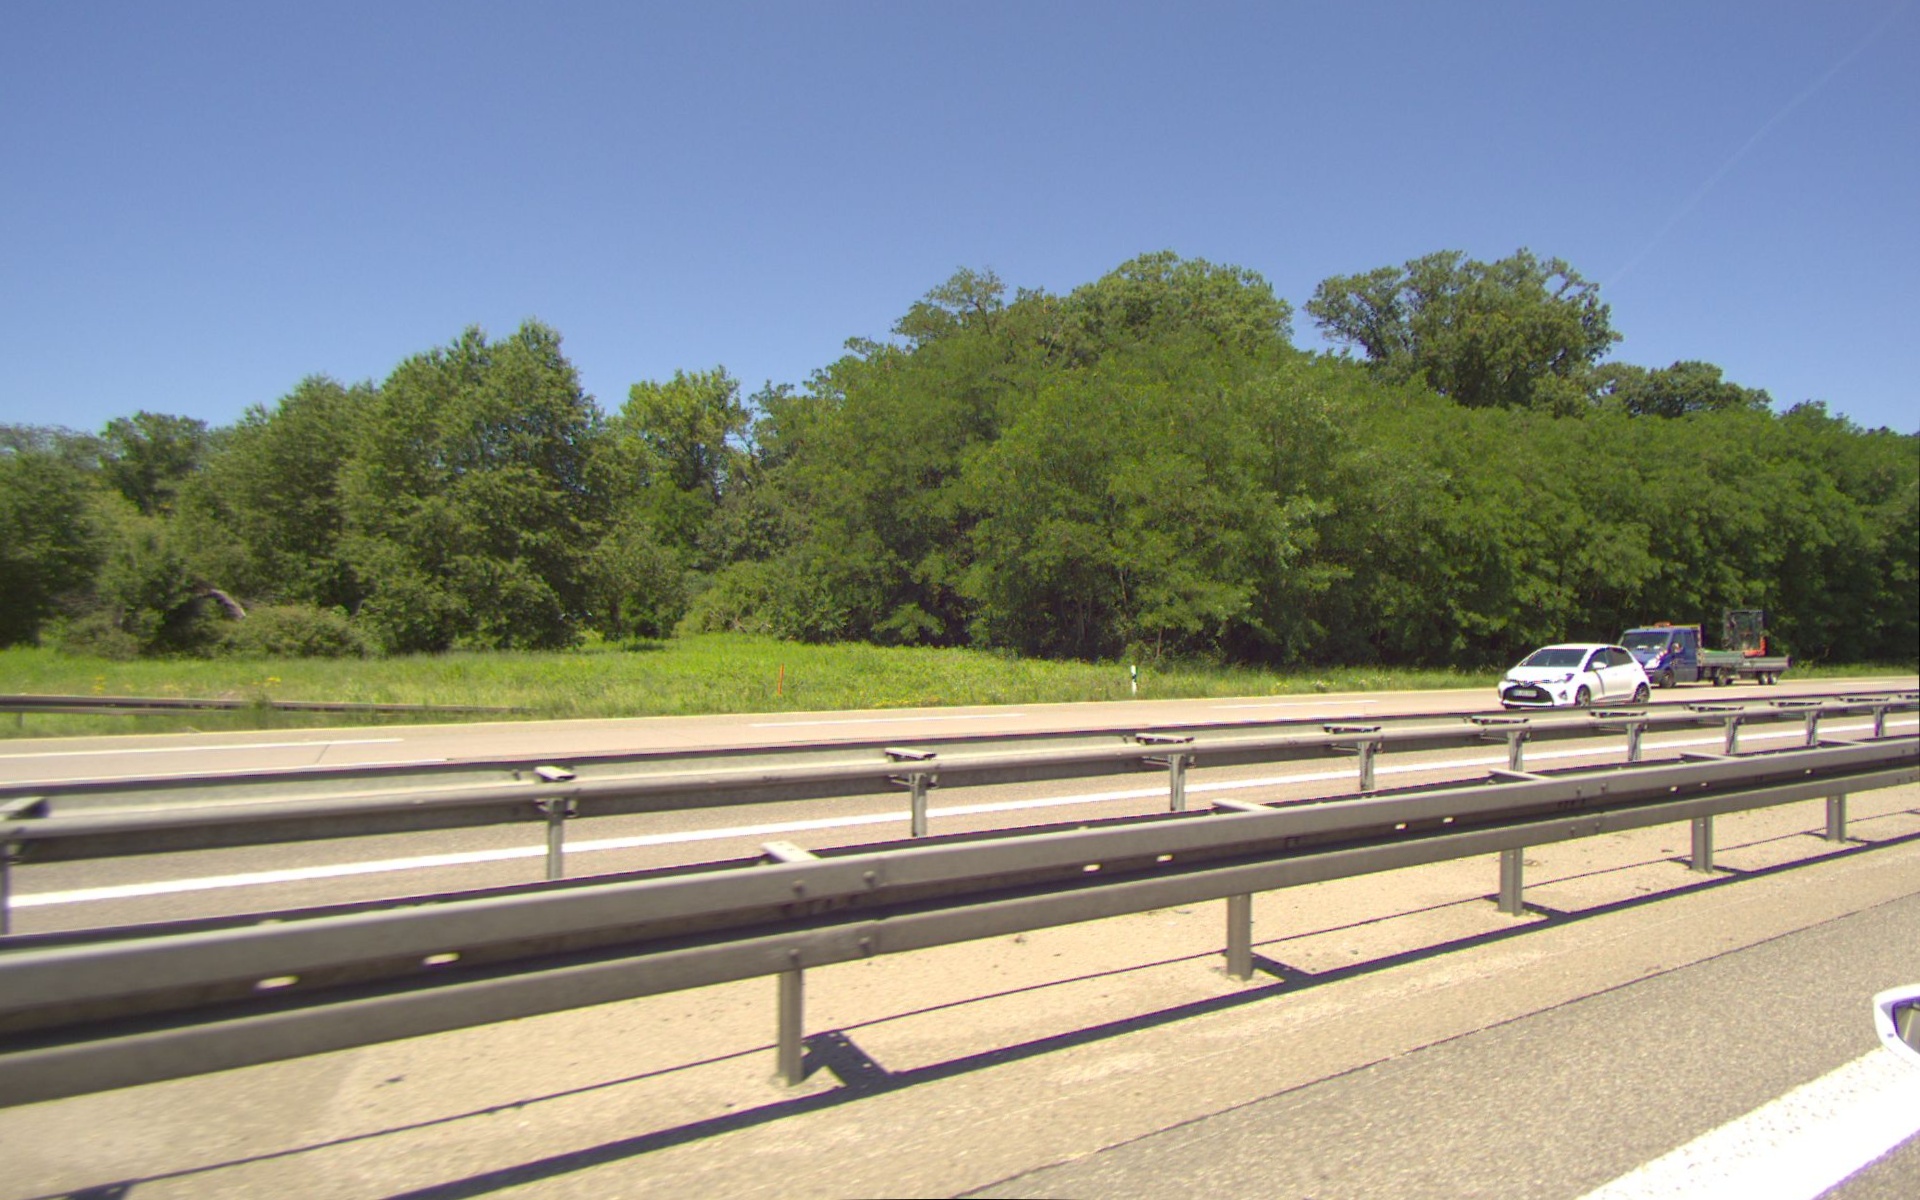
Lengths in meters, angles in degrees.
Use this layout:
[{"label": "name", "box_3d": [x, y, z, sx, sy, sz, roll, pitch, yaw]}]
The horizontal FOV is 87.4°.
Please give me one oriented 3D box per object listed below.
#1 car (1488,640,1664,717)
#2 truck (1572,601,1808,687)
[{"label": "car", "box_3d": [14.118, 1.733, 22.968, 4.155, 1.564, 1.680, 2, 0, -30]}, {"label": "truck", "box_3d": [29.177, 1.763, 39.821, 12.705, 3.029, 2.740, 2, -3, -30]}]
